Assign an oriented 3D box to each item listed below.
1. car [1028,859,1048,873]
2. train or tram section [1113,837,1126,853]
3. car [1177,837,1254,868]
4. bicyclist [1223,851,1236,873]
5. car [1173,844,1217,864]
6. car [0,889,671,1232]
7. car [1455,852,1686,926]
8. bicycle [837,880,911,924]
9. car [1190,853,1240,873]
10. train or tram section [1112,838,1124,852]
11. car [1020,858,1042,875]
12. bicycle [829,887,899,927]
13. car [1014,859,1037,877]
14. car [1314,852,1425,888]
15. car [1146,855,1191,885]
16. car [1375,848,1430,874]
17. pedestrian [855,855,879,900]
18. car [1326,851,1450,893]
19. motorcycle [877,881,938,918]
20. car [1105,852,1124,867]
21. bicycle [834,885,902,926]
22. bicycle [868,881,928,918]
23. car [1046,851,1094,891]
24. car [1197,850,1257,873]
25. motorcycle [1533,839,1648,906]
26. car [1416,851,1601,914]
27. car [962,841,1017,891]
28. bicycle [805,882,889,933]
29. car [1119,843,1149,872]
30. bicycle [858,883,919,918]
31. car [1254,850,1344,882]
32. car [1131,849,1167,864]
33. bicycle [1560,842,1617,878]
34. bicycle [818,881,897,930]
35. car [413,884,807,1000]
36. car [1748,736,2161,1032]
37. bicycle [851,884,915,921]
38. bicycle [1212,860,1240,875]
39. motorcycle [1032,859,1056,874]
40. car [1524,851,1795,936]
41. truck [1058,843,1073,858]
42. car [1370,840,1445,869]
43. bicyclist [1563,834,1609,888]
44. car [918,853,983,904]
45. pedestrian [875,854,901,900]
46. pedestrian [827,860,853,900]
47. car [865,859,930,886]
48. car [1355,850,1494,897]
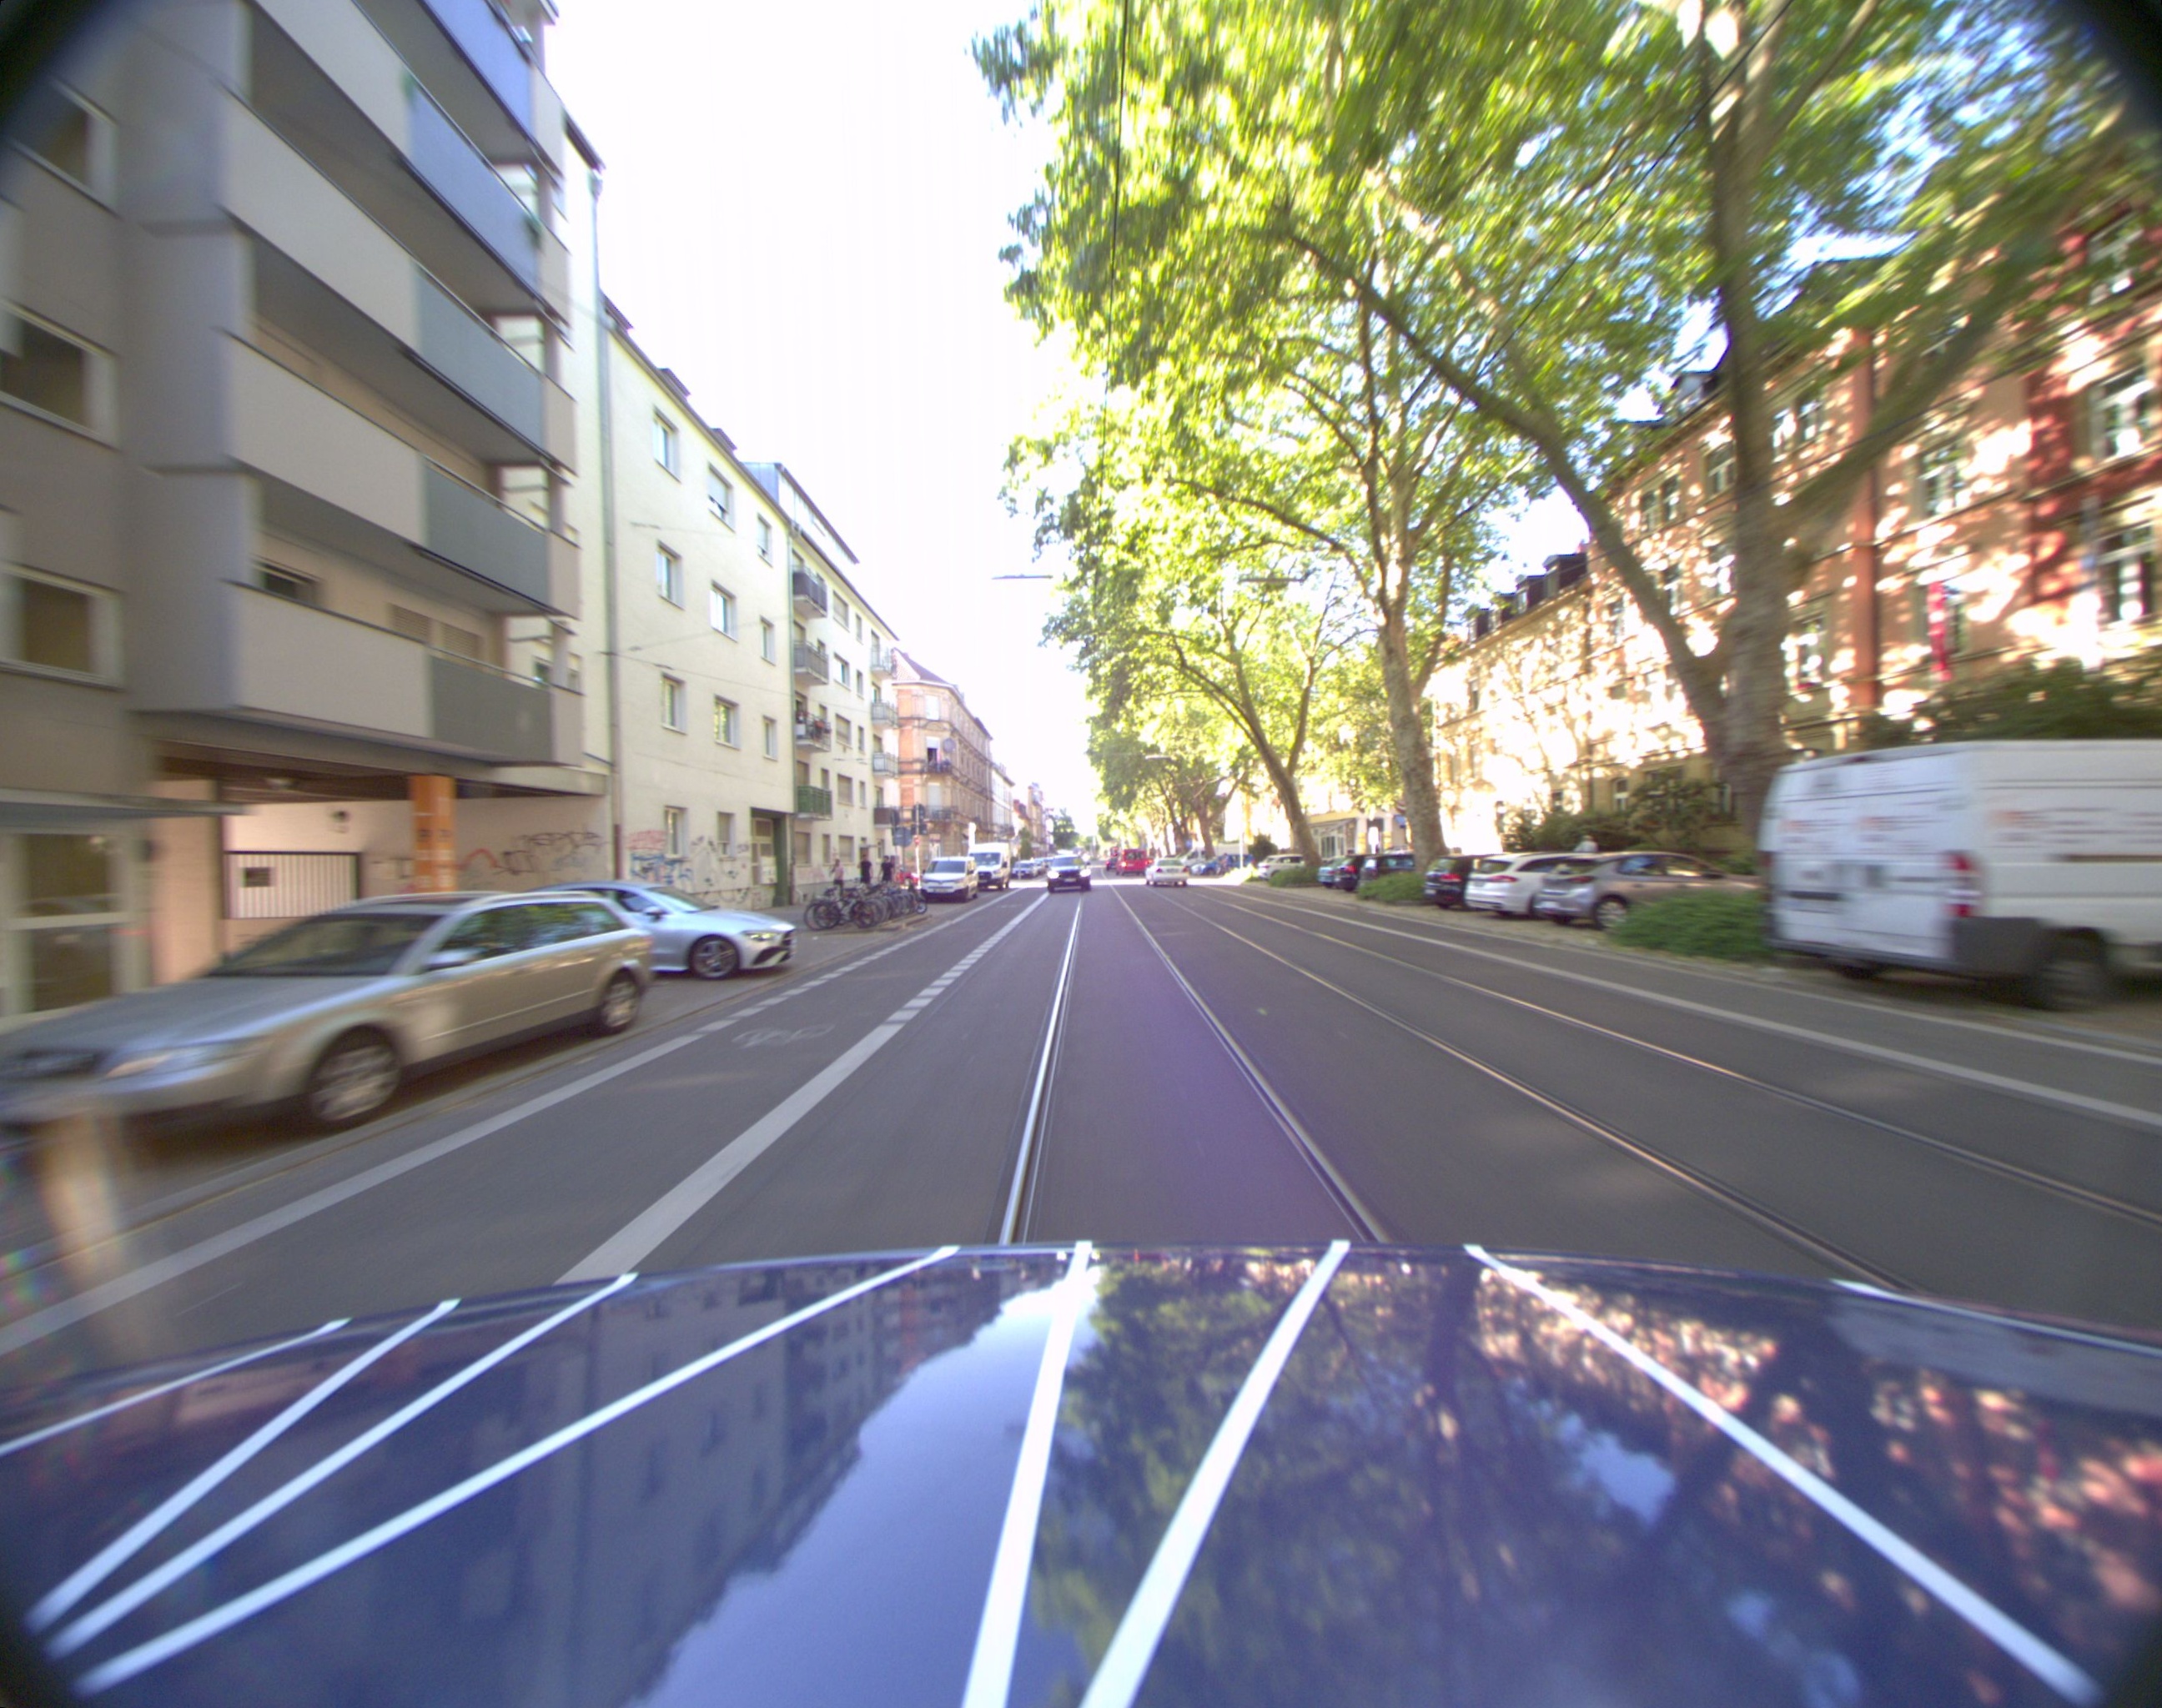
[{"bbox_3d":[-4.228,1.208,74.818,1.653,1.265,3.724,0,1,0],"label":"car"},{"bbox_3d":[9.367,-2.247,186.577,2.944,3.598,11.062,-3,1,2],"label":"train or tram section"},{"bbox_3d":[12.280,-0.133,69.583,6.618,2.393,2.000,-3,0,1],"label":"car"},{"bbox_3d":[10.375,0.542,53.021,0.867,1.517,0.737,-1,1,13],"label":"bicyclist"},{"bbox_3d":[12.566,-0.018,84.095,4.637,1.896,1.922,-3,0,4],"label":"car"},{"bbox_3d":[-5.504,1.180,6.157,1.728,1.516,4.513,-1,0,3],"label":"car"},{"bbox_3d":[10.841,0.738,17.053,3.996,1.487,1.830,-1,0,1],"label":"car"},{"bbox_3d":[-5.598,1.284,20.627,1.798,1.141,0.704,0,1,1],"label":"bicycle"},{"bbox_3d":[11.026,0.744,62.637,3.779,1.509,1.747,-1,0,-2],"label":"car"},{"bbox_3d":[10.216,-2.586,209.553,2.944,3.598,12.410,-3,1,2],"label":"train or tram section"},{"bbox_3d":[-4.471,1.073,67.858,1.606,1.412,4.013,0,1,1],"label":"car"},{"bbox_3d":[-5.548,1.353,19.442,1.657,0.960,0.457,0,1,1],"label":"bicycle"},{"bbox_3d":[-4.536,1.136,62.571,1.653,1.412,4.059,0,1,-1],"label":"car"},{"bbox_3d":[11.927,0.655,31.511,3.998,1.361,1.604,-1,0,-5],"label":"car"},{"bbox_3d":[4.385,0.766,38.634,1.722,1.351,4.469,-1,0,0],"label":"car"},{"bbox_3d":[18.593,0.381,44.144,1.603,1.452,3.488,-1,0,-2],"label":"car"},{"bbox_3d":[-8.710,0.946,30.921,0.626,1.812,1.082,0,1,3],"label":"pedestrian"},{"bbox_3d":[11.622,0.651,28.900,4.000,1.452,1.769,-1,0,-8],"label":"car"},{"bbox_3d":[-5.340,1.381,23.422,1.820,1.074,0.618,0,1,24],"label":"motorcycle"},{"bbox_3d":[3.531,0.571,80.403,1.722,1.501,3.722,-1,0,0],"label":"car"},{"bbox_3d":[-5.591,1.347,19.960,1.657,1.015,0.457,0,1,1],"label":"bicycle"},{"bbox_3d":[-5.431,1.348,22.540,1.657,1.049,0.457,0,1,1],"label":"bicycle"},{"bbox_3d":[-0.461,0.798,36.624,1.948,1.694,4.631,-3,-1,3],"label":"car"},{"bbox_3d":[11.550,0.614,60.226,4.331,1.702,1.816,-1,1,-3],"label":"car"},{"bbox_3d":[13.663,0.454,20.537,1.054,1.622,3.011,-3,1,1],"label":"motorcycle"},{"bbox_3d":[10.946,0.706,19.652,3.802,1.452,1.704,-2,0,2],"label":"car"},{"bbox_3d":[-4.906,0.565,41.732,2.154,2.481,6.088,-2,1,0],"label":"car"},{"bbox_3d":[-5.684,1.298,18.484,1.897,1.185,0.457,0,1,1],"label":"bicycle"},{"bbox_3d":[4.230,0.262,61.465,1.922,2.214,4.959,-2,0,-1],"label":"car"},{"bbox_3d":[-5.564,1.335,21.985,1.657,0.981,0.457,0,1,1],"label":"bicycle"},{"bbox_3d":[10.964,0.577,38.396,3.997,1.452,1.879,-2,0,0],"label":"car"},{"bbox_3d":[8.605,0.283,96.365,4.365,1.603,2.000,-3,0,1],"label":"car"},{"bbox_3d":[17.043,0.188,25.572,0.744,1.132,1.780,-2,0,1],"label":"bicycle"},{"bbox_3d":[-5.573,1.280,18.952,1.828,1.185,0.457,0,1,1],"label":"bicycle"},{"bbox_3d":[-6.700,1.216,11.367,4.629,1.429,1.863,0,0,-10],"label":"car"},{"bbox_3d":[10.604,0.199,7.651,5.755,2.521,2.162,-2,0,1],"label":"car"},{"bbox_3d":[-5.558,1.351,21.341,1.657,0.981,0.457,0,1,1],"label":"bicycle"},{"bbox_3d":[10.150,0.935,53.084,1.873,1.025,0.629,-1,0,14],"label":"bicycle"},{"bbox_3d":[-3.483,1.187,72.102,2.143,1.281,0.642,-2,1,-21],"label":"motorcycle"},{"bbox_3d":[10.905,0.711,14.537,3.817,1.424,1.704,-2,0,3],"label":"car"},{"bbox_3d":[-3.379,-0.771,165.204,2.842,3.145,7.291,-3,1,0],"label":"truck"},{"bbox_3d":[23.588,0.028,55.013,4.581,1.870,2.129,-1,3,8],"label":"car"},{"bbox_3d":[17.003,0.219,25.612,0.832,1.752,1.048,-2,1,1],"label":"bicyclist"},{"bbox_3d":[-5.265,0.953,31.223,1.863,1.810,4.350,2,1,0],"label":"car"},{"bbox_3d":[-7.770,0.914,30.650,0.711,1.812,1.082,0,1,3],"label":"pedestrian"},{"bbox_3d":[-9.825,1.044,31.005,0.633,1.571,0.933,4,2,3],"label":"pedestrian"},{"bbox_3d":[-11.853,1.184,49.152,3.658,1.565,1.790,-3,1,3],"label":"car"},{"bbox_3d":[11.732,0.645,26.147,3.996,1.452,1.704,-1,0,3],"label":"car"}]
